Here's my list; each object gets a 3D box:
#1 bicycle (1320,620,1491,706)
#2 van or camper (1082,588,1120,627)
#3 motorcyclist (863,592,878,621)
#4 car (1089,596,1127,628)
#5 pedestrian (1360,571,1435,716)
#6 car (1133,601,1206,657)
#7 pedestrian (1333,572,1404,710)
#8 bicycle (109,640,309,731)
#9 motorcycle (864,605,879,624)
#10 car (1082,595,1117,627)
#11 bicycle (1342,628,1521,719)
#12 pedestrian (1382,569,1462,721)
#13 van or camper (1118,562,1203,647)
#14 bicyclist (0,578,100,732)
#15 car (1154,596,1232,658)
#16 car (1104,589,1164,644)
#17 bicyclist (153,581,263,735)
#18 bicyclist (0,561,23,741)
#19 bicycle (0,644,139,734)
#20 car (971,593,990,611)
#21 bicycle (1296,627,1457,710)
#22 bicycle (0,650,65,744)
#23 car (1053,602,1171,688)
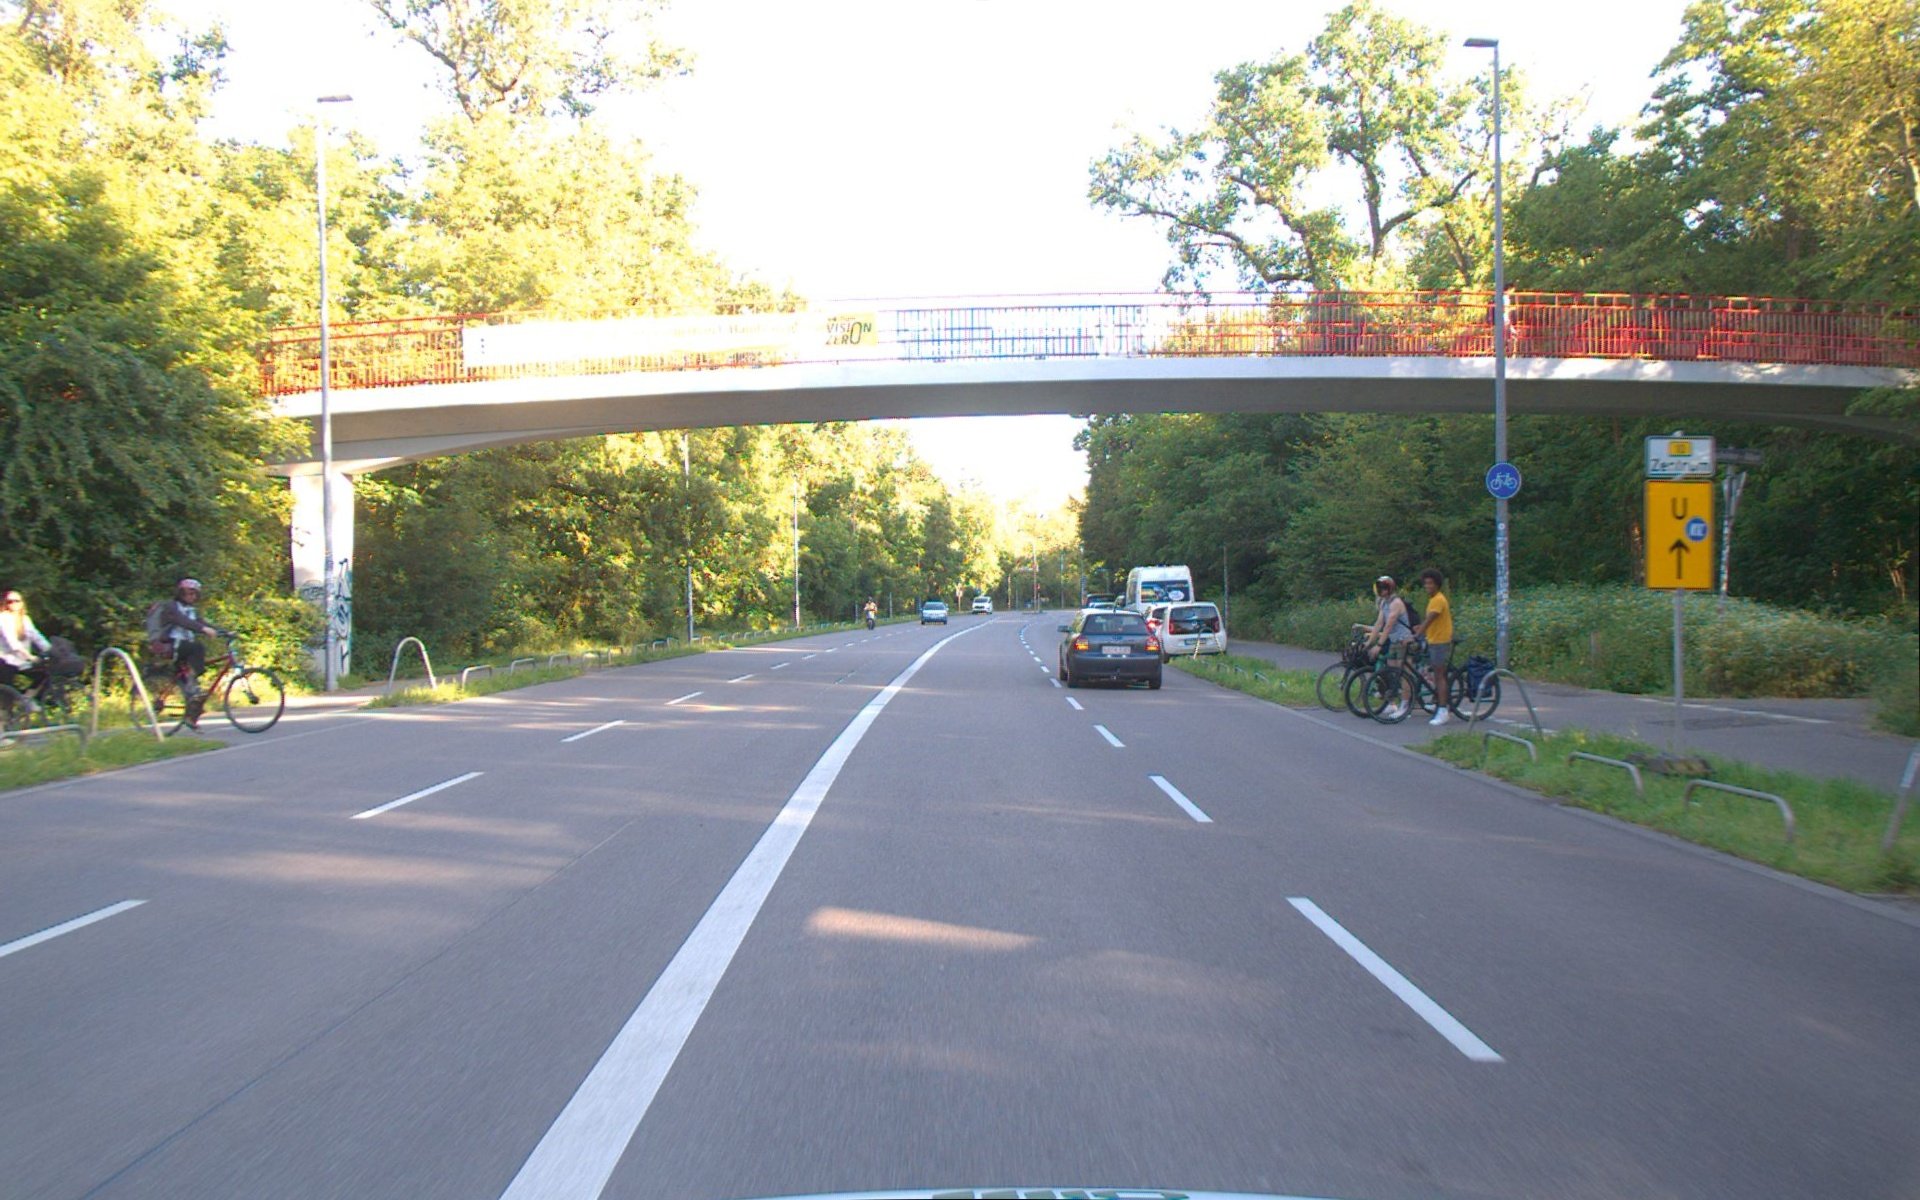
[{"bbox_3d":[5.918,0.824,22.018,2.021,1.087,0.870,-1,0,-4],"label":"bicycle"},{"bbox_3d":[7.628,0.401,89.985,1.853,1.982,5.136,-3,0,4],"label":"van or camper"},{"bbox_3d":[-4.718,0.358,87.358,0.709,1.531,0.672,0,-1,1],"label":"motorcyclist"},{"bbox_3d":[7.040,0.554,78.874,1.691,1.467,4.102,0,0,3],"label":"car"},{"bbox_3d":[5.827,0.561,22.050,0.685,1.885,0.938,-1,0,-4],"label":"pedestrian"},{"bbox_3d":[5.921,0.785,47.190,1.687,1.522,4.146,0,0,2],"label":"car"},{"bbox_3d":[5.712,0.561,23.160,0.685,1.885,0.938,-1,0,-4],"label":"pedestrian"},{"bbox_3d":[-8.372,0.945,18.479,1.885,0.951,0.825,-1,0,9],"label":"bicycle"},{"bbox_3d":[-4.689,0.753,87.390,0.623,1.013,2.077,0,0,1],"label":"motorcycle"},{"bbox_3d":[7.084,0.527,84.113,1.691,1.571,4.219,0,0,3],"label":"car"},{"bbox_3d":[5.985,0.920,21.062,2.021,1.087,0.870,-1,0,-4],"label":"bicycle"},{"bbox_3d":[5.876,0.558,21.069,0.685,1.885,0.938,-1,0,-4],"label":"pedestrian"},{"bbox_3d":[6.422,0.114,53.574,2.075,2.561,5.980,-1,0,1],"label":"van or camper"},{"bbox_3d":[-10.575,0.614,19.044,0.778,1.727,0.946,-1,0,9],"label":"bicyclist"},{"bbox_3d":[5.943,0.654,42.503,1.687,1.522,3.776,0,0,4],"label":"car"},{"bbox_3d":[6.361,0.565,60.897,1.791,1.900,5.075,-1,0,2],"label":"car"},{"bbox_3d":[-8.390,0.628,18.481,0.778,1.672,0.842,0,0,9],"label":"bicyclist"},{"bbox_3d":[-10.722,0.555,17.771,0.778,1.934,0.818,-1,0,9],"label":"bicyclist"},{"bbox_3d":[-10.597,1.026,19.053,1.885,0.951,0.825,-2,0,9],"label":"bicycle"},{"bbox_3d":[2.400,0.192,191.435,1.952,2.027,4.999,0,0,3],"label":"car"},{"bbox_3d":[5.813,0.949,23.156,2.021,1.087,0.870,-1,0,-4],"label":"bicycle"},{"bbox_3d":[-10.755,1.046,17.767,1.885,0.951,0.825,-1,0,9],"label":"bicycle"},{"bbox_3d":[2.736,0.778,30.576,1.693,1.467,4.088,0,0,-1],"label":"car"}]
